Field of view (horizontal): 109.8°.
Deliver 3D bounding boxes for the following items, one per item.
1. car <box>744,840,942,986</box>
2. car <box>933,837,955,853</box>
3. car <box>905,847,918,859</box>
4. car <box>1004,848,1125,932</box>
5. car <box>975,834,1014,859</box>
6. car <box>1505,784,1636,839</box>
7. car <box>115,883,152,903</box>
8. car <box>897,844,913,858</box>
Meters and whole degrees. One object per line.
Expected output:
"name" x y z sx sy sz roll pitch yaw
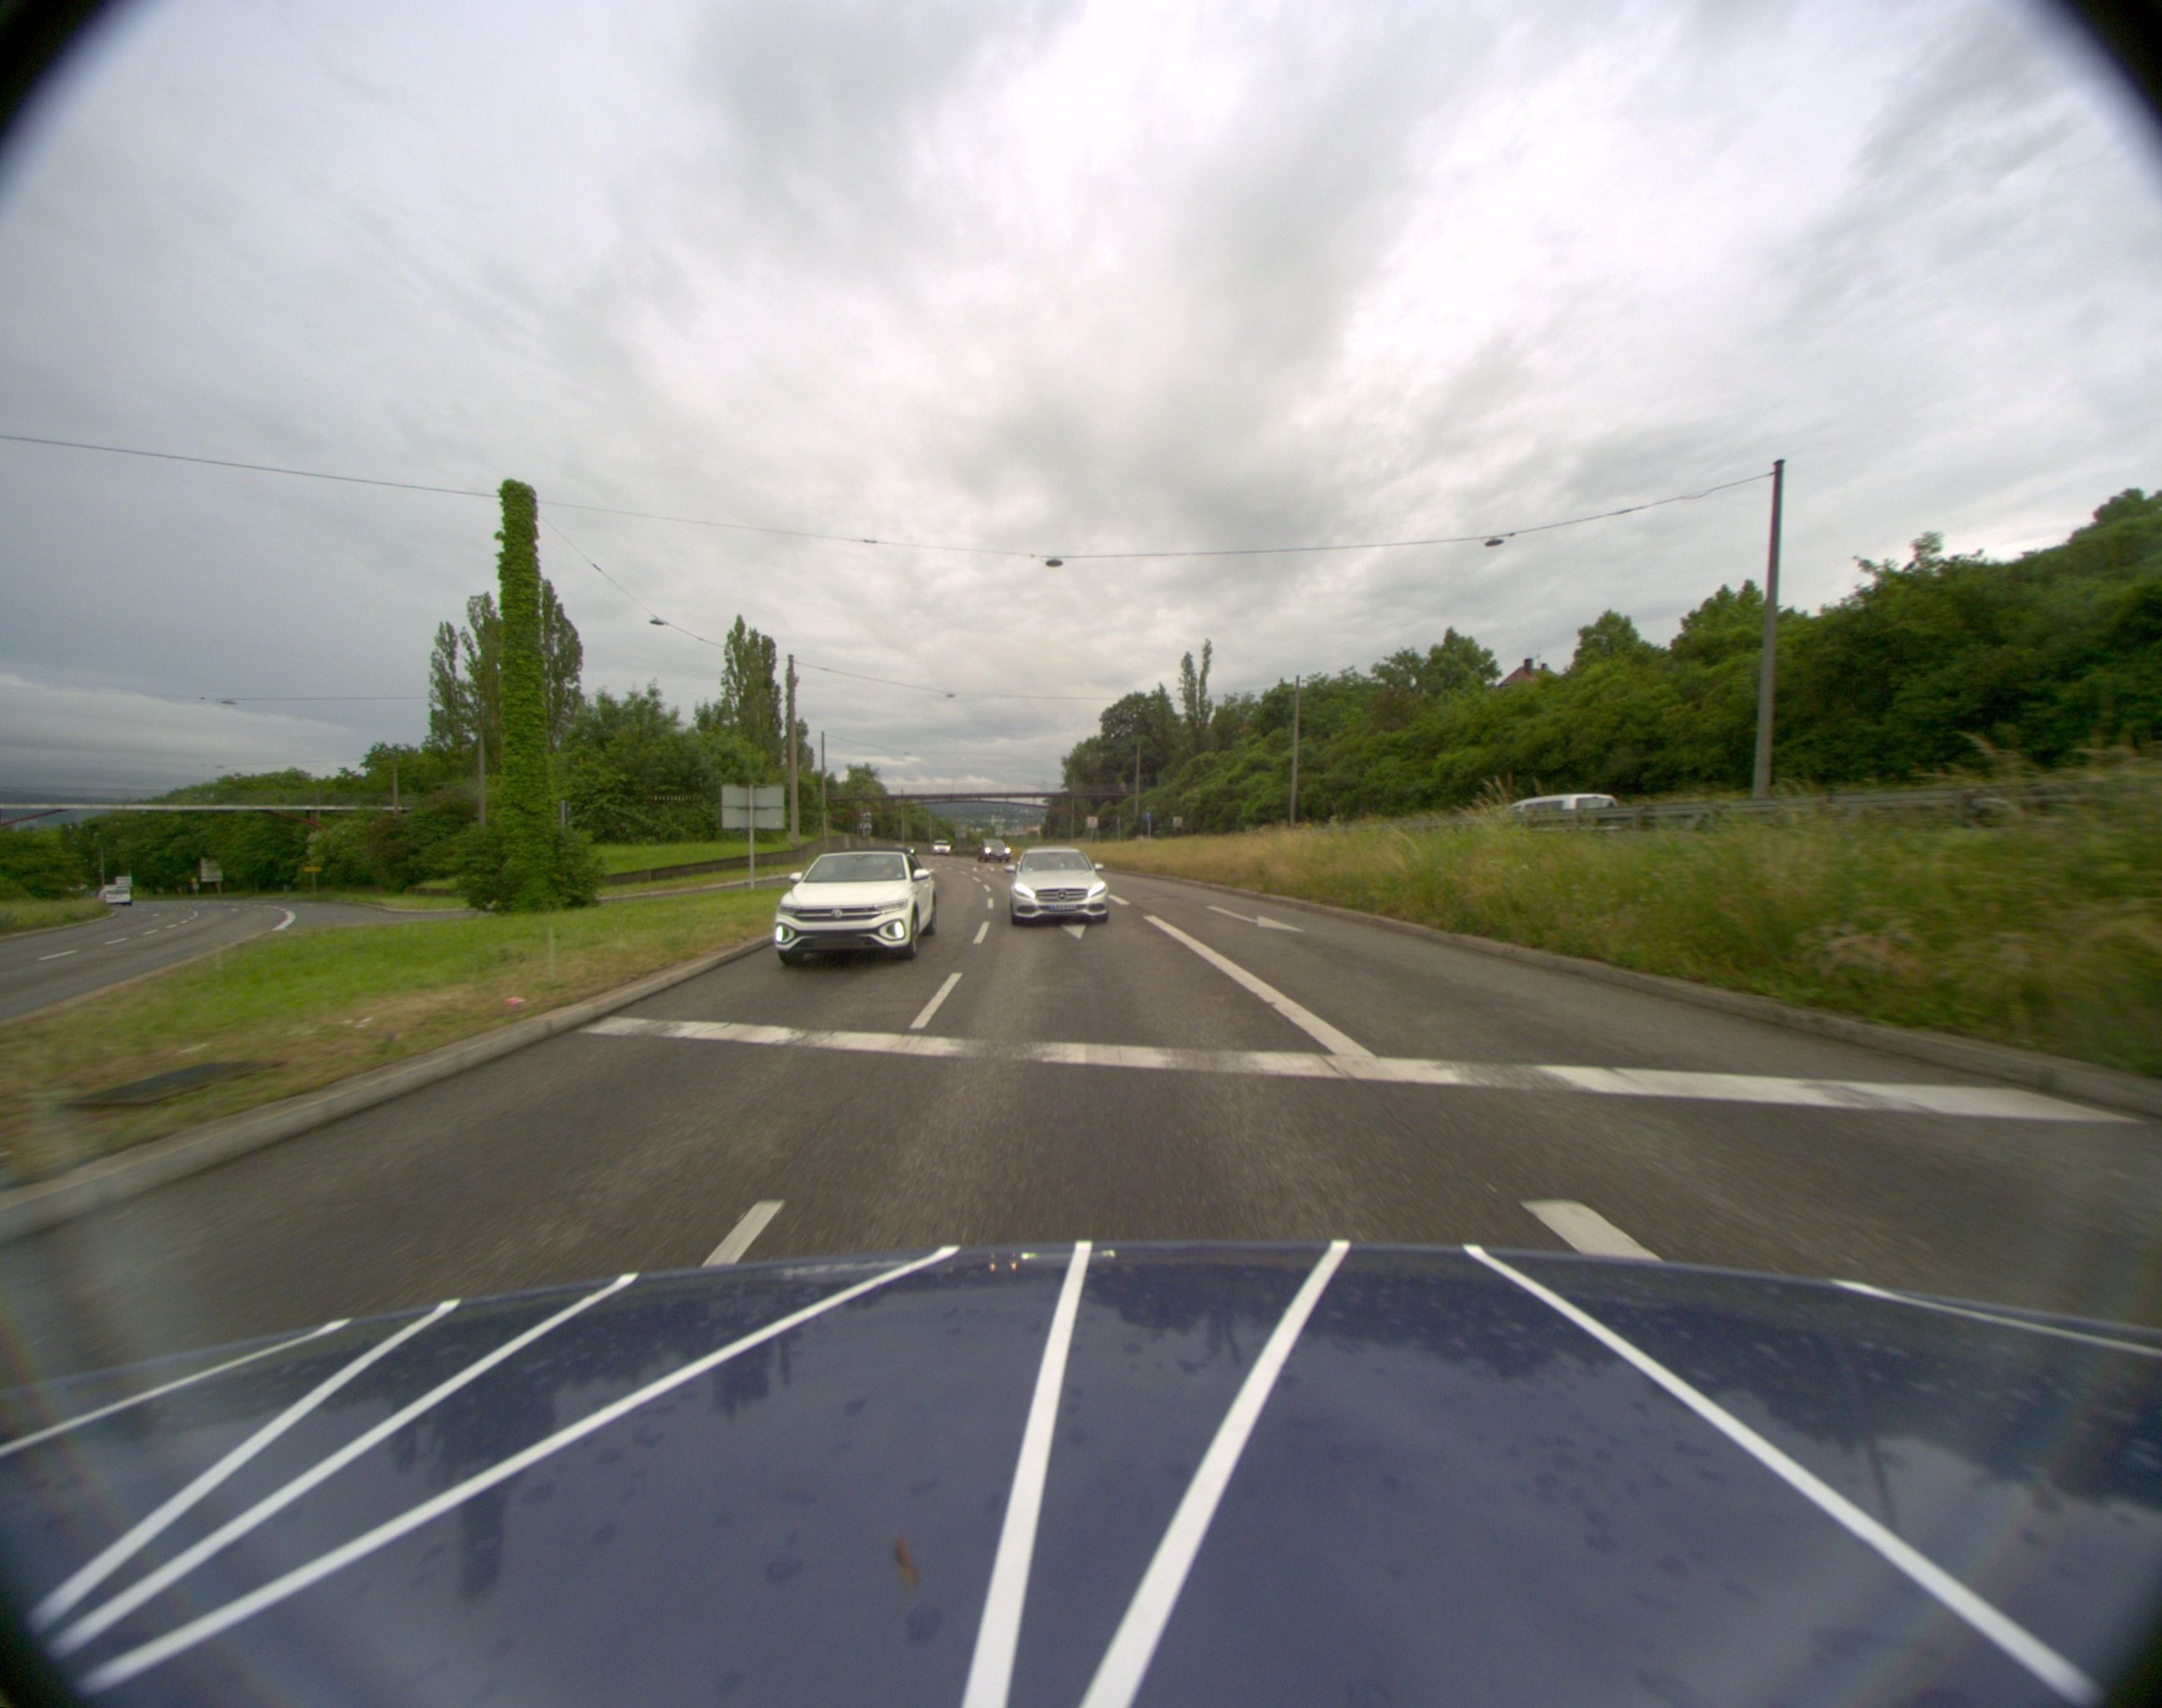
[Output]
"car" -3.263 0.689 11.252 1.843 1.532 3.813 -2 5 -3
"car" -16.260 -1.070 90.168 2.001 1.682 4.282 -2 0 -17
"car" -28.266 -0.129 126.526 2.001 2.002 3.995 -2 0 -15
"car" -0.514 0.618 15.711 2.000 1.400 4.520 -1 1 -7
"car" -6.342 -0.511 55.385 1.930 1.725 4.019 -2 0 -20
"car" 14.221 -1.182 22.280 1.561 1.424 3.227 -3 1 -5
"car" -95.919 3.912 76.918 3.830 1.827 1.897 -3 1 33
"car" -26.087 -0.434 112.279 2.001 2.002 3.995 -3 0 -16
